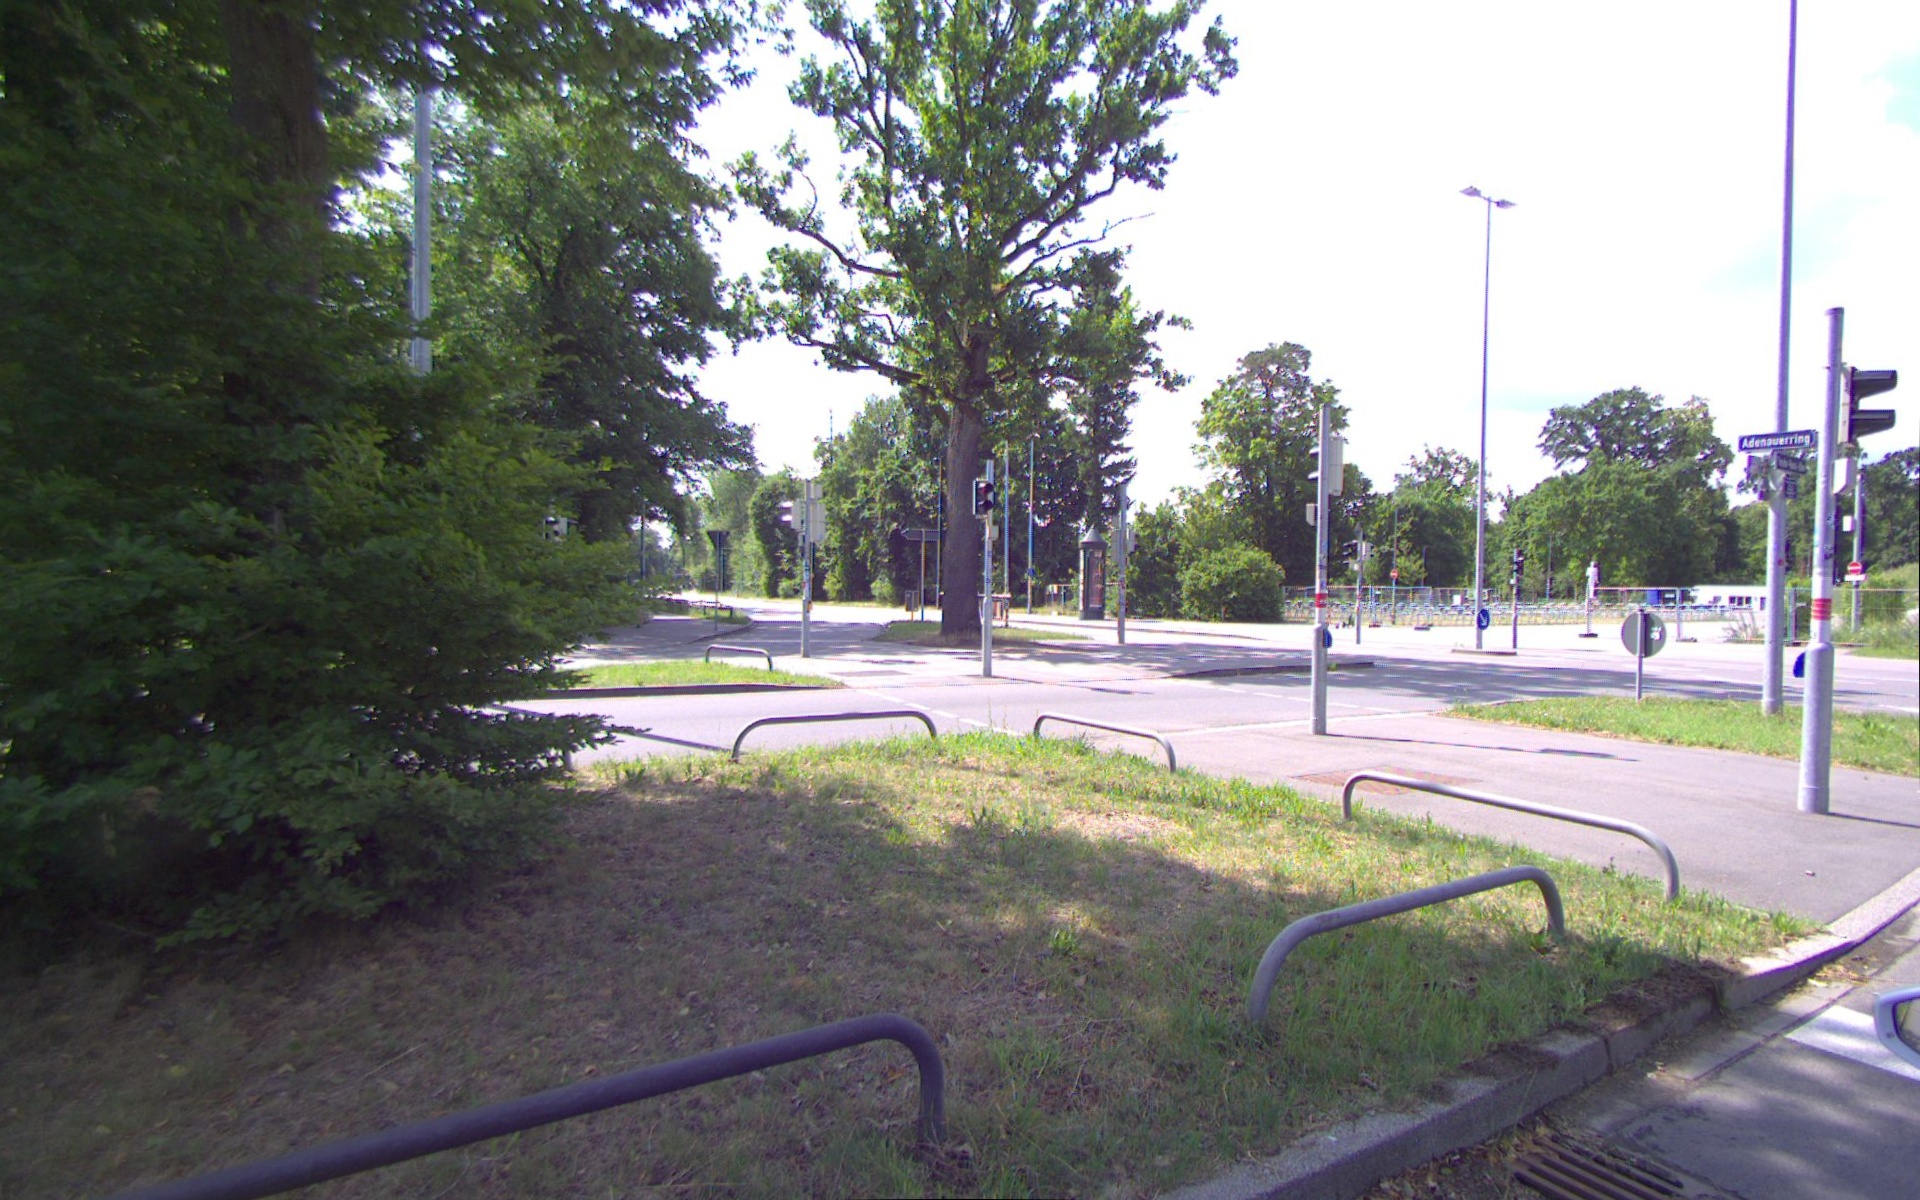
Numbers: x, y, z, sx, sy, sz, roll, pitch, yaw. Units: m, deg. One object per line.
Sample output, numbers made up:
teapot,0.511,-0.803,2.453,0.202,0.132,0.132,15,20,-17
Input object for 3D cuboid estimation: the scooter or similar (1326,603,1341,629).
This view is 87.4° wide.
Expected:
scooter or similar,18.238,0.774,49.052,0.399,1.216,1.312,0,1,7

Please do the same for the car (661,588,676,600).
car,-52.246,-1.005,180.065,1.972,2.040,3.977,2,0,-24

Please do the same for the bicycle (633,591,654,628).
bicycle,-10.329,0.307,32.777,0.413,1.189,1.228,2,0,-8

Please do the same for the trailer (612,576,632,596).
trailer,-42.313,-1.743,125.704,1.971,2.420,3.979,2,0,-22
